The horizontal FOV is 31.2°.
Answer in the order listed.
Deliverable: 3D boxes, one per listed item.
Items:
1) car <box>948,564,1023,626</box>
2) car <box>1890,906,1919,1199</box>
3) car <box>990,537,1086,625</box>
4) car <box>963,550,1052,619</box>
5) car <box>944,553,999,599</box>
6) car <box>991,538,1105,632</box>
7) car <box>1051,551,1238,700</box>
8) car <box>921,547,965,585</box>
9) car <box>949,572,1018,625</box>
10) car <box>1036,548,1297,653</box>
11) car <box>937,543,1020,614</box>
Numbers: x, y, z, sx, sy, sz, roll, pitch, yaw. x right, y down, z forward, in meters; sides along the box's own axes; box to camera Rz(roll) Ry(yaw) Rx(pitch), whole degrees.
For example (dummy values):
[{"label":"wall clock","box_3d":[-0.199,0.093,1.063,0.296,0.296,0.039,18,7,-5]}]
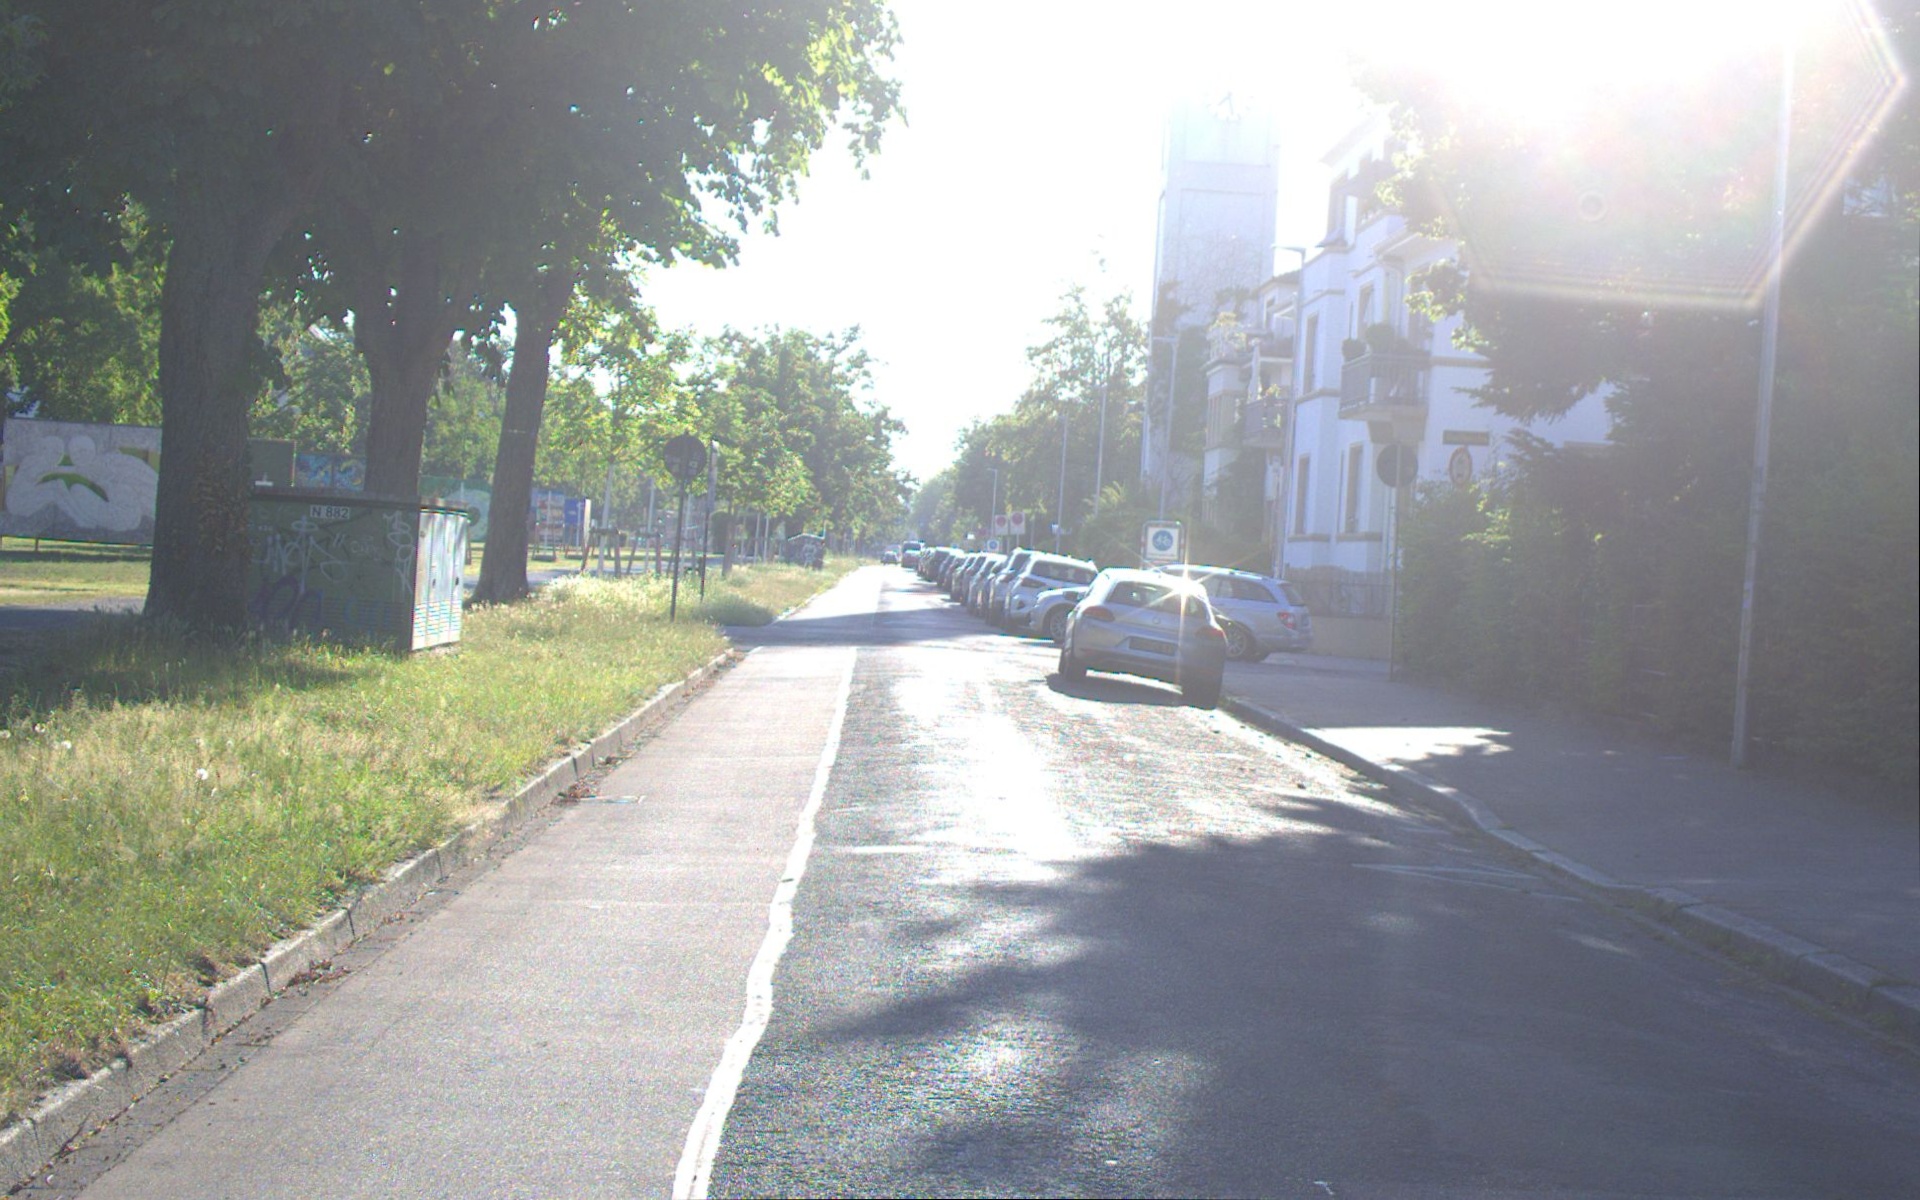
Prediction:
[{"label":"car","box_3d":[0.688,-0.149,94.934,1.761,1.516,4.000,6,0,-2]},{"label":"car","box_3d":[2.641,0.915,3.862,1.748,1.472,4.289,6,0,-4]},{"label":"car","box_3d":[1.571,-0.417,70.549,1.685,1.645,4.100,4,1,-1]},{"label":"car","box_3d":[1.071,-0.378,79.433,1.761,1.415,4.001,4,1,-2]},{"label":"car","box_3d":[0.442,-0.914,132.007,1.993,1.624,4.000,4,0,0]},{"label":"car","box_3d":[1.625,-0.299,64.537,1.758,1.599,4.359,4,0,-2]},{"label":"car","box_3d":[2.156,0.279,41.166,1.757,1.415,4.072,10,0,-1]},{"label":"car","box_3d":[-0.810,-1.645,166.246,1.980,1.677,4.000,4,0,0]},{"label":"car","box_3d":[0.718,-0.043,105.549,1.993,1.459,4.000,4,0,0]},{"label":"car","box_3d":[3.348,-0.011,55.358,3.988,1.415,1.766,4,2,9]},{"label":"car","box_3d":[0.431,-0.537,84.709,1.758,1.599,4.359,4,0,-2]}]
